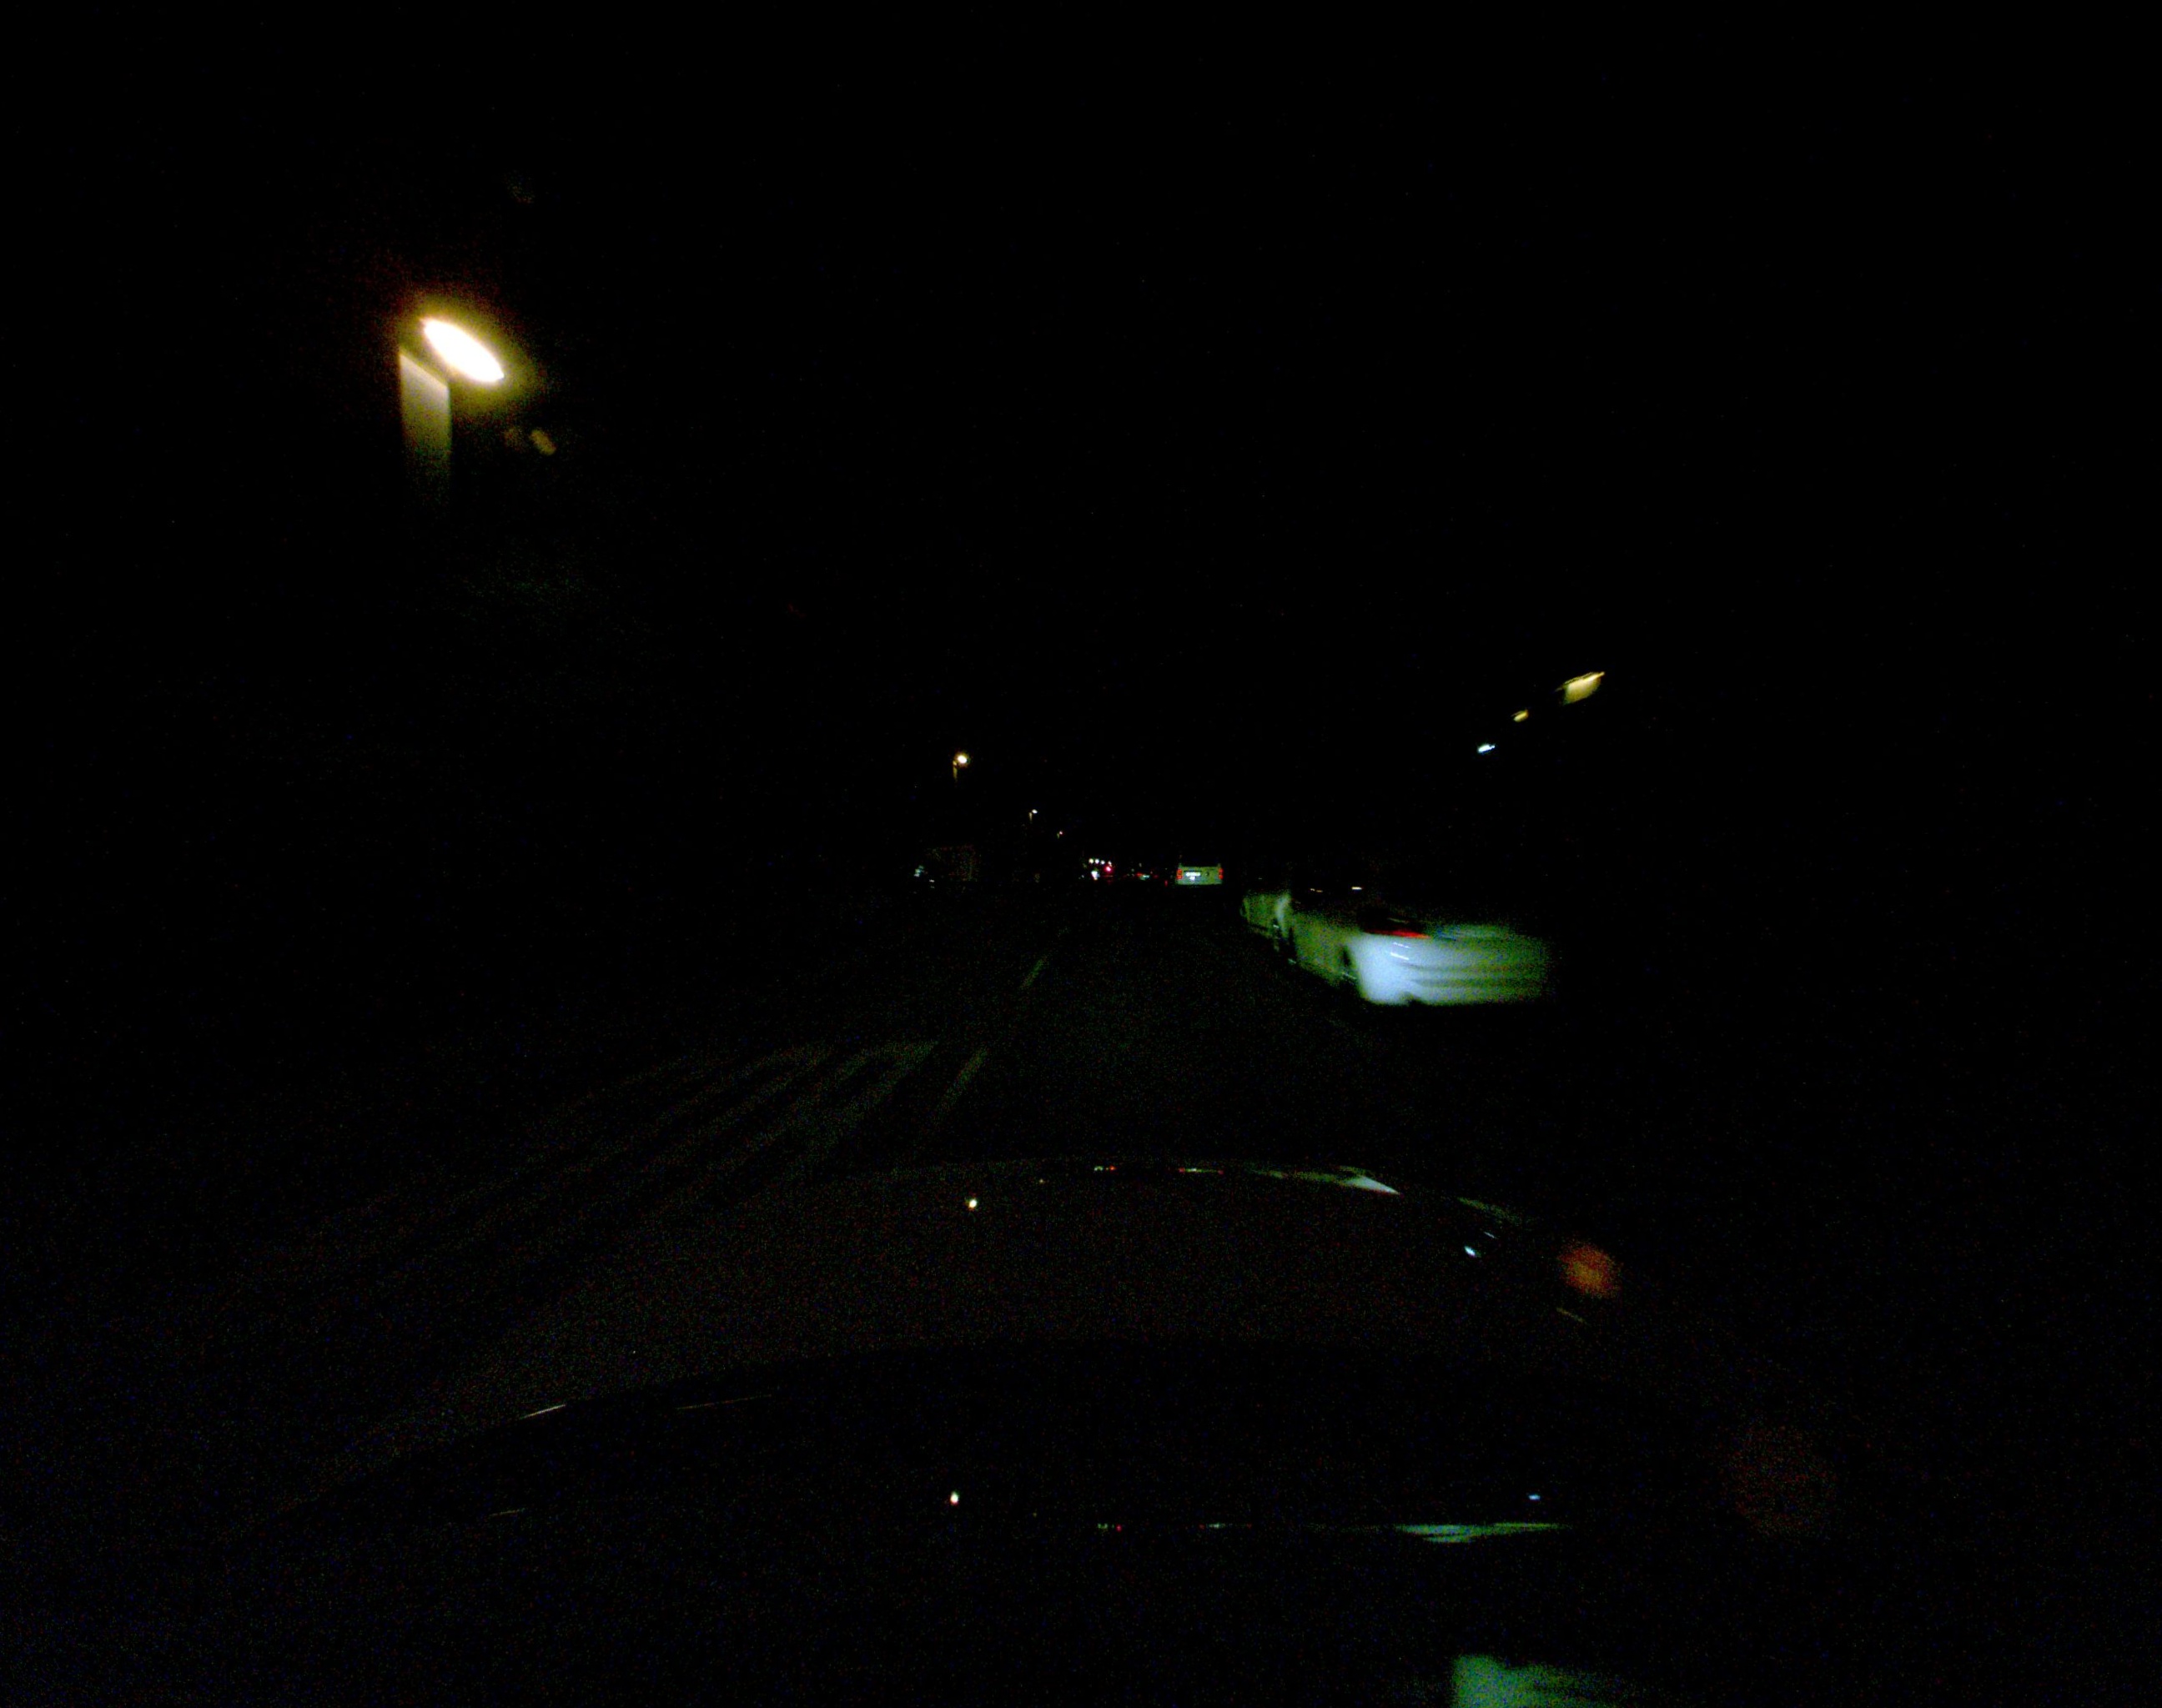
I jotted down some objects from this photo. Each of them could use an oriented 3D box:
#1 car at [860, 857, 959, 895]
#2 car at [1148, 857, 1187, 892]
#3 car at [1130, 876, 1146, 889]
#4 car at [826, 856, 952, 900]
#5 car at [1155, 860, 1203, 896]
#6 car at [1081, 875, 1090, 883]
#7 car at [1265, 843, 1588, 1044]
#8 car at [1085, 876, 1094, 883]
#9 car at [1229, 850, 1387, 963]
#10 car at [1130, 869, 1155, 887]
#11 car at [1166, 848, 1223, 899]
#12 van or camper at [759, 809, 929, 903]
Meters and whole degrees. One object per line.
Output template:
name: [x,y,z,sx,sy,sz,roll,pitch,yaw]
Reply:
car: [-7.295,0.934,34.894,3.797,1.555,1.928,0,0,1]
car: [4.392,1.070,41.745,1.824,1.664,4.623,-1,-2,4]
car: [6.606,3.326,95.201,1.624,1.439,3.864,0,-2,1]
car: [-7.478,0.957,32.069,4.399,1.613,2.066,-1,-2,2]
car: [4.291,1.044,36.118,1.737,1.471,4.258,1,-1,2]
car: [0.897,5.030,161.272,1.748,1.540,3.728,-1,-2,-1]
car: [3.277,0.713,8.852,1.747,1.594,4.732,0,0,3]
car: [1.878,5.622,178.370,1.747,1.540,3.730,-1,-2,1]
car: [3.550,0.731,13.356,1.603,1.461,3.718,-3,1,2]
car: [5.327,2.076,71.267,1.758,1.476,4.272,1,-2,-2]
car: [4.175,0.713,30.630,1.711,1.761,4.761,0,-1,3]
van or camper: [-8.096,0.053,28.359,5.395,3.111,2.127,-1,0,-8]
